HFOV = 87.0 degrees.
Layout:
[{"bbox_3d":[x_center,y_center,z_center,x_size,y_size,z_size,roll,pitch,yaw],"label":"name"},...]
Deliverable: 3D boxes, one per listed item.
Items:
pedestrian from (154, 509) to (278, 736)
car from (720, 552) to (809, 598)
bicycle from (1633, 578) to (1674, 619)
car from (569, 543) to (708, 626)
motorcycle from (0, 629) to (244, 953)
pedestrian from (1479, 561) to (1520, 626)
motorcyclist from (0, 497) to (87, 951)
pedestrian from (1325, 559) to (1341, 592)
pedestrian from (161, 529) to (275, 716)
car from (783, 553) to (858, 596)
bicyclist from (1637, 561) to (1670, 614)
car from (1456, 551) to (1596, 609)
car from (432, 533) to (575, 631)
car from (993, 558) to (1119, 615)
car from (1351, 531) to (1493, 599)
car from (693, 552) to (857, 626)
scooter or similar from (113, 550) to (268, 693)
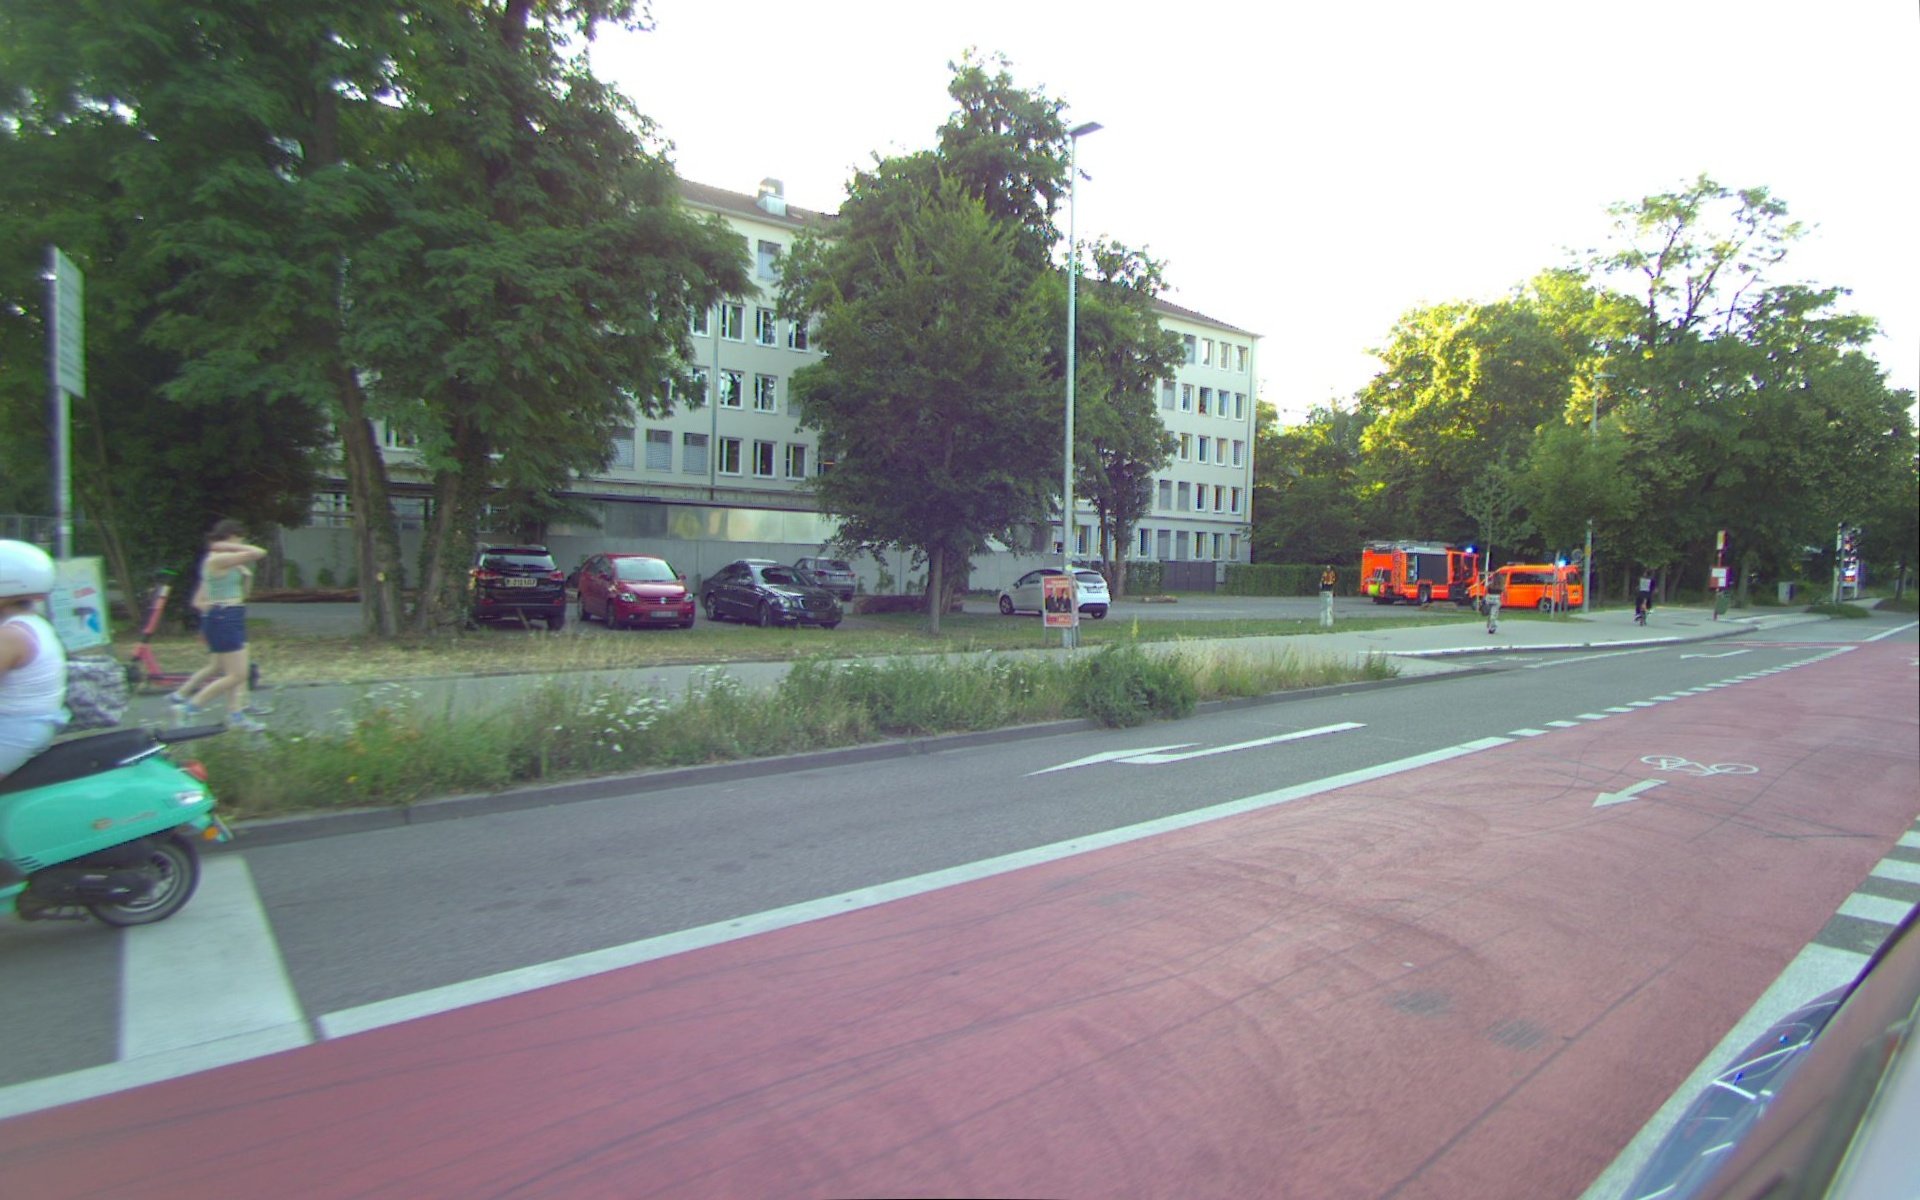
[{"bbox_3d":[-5.900,0.148,8.022,0.762,1.680,0.721,0,3,-39],"label":"pedestrian"},{"bbox_3d":[-7.064,-0.925,36.278,1.880,1.540,3.921,0,3,-32],"label":"car"},{"bbox_3d":[22.039,-0.065,32.158,1.866,1.256,0.571,-1,3,-41],"label":"bicycle"},{"bbox_3d":[-7.138,-0.398,22.192,1.882,1.630,4.003,0,3,-33],"label":"car"},{"bbox_3d":[-4.067,0.759,4.126,1.858,1.212,0.684,0,2,-35],"label":"motorcycle"},{"bbox_3d":[13.848,-0.171,25.976,0.676,1.642,0.682,0,2,-41],"label":"pedestrian"},{"bbox_3d":[-4.061,0.471,4.127,0.677,1.758,0.741,0,1,-35],"label":"motorcyclist"},{"bbox_3d":[21.332,-1.410,57.901,0.672,1.864,0.843,2,2,11],"label":"pedestrian"},{"bbox_3d":[-6.489,0.165,8.851,0.775,1.541,0.737,0,3,-39],"label":"pedestrian"},{"bbox_3d":[-5.250,-0.980,37.678,1.734,1.477,3.320,0,3,-28],"label":"car"},{"bbox_3d":[22.025,-0.414,32.127,1.020,1.652,0.571,0,3,-41],"label":"bicyclist"},{"bbox_3d":[25.722,-0.969,46.189,1.963,2.422,5.168,0,3,-38],"label":"car"},{"bbox_3d":[-9.317,-0.443,20.454,1.882,1.761,4.241,0,3,-35],"label":"car"},{"bbox_3d":[2.741,-0.428,29.463,1.633,1.477,3.667,0,3,-36],"label":"car"},{"bbox_3d":[23.899,-1.787,52.145,8.138,3.283,2.775,0,3,-35],"label":"car"},{"bbox_3d":[-4.414,-0.324,23.588,1.884,1.481,4.519,0,3,-38],"label":"car"},{"bbox_3d":[-7.342,0.182,9.682,1.159,1.287,0.441,-1,3,-41],"label":"scooter or similar"}]
